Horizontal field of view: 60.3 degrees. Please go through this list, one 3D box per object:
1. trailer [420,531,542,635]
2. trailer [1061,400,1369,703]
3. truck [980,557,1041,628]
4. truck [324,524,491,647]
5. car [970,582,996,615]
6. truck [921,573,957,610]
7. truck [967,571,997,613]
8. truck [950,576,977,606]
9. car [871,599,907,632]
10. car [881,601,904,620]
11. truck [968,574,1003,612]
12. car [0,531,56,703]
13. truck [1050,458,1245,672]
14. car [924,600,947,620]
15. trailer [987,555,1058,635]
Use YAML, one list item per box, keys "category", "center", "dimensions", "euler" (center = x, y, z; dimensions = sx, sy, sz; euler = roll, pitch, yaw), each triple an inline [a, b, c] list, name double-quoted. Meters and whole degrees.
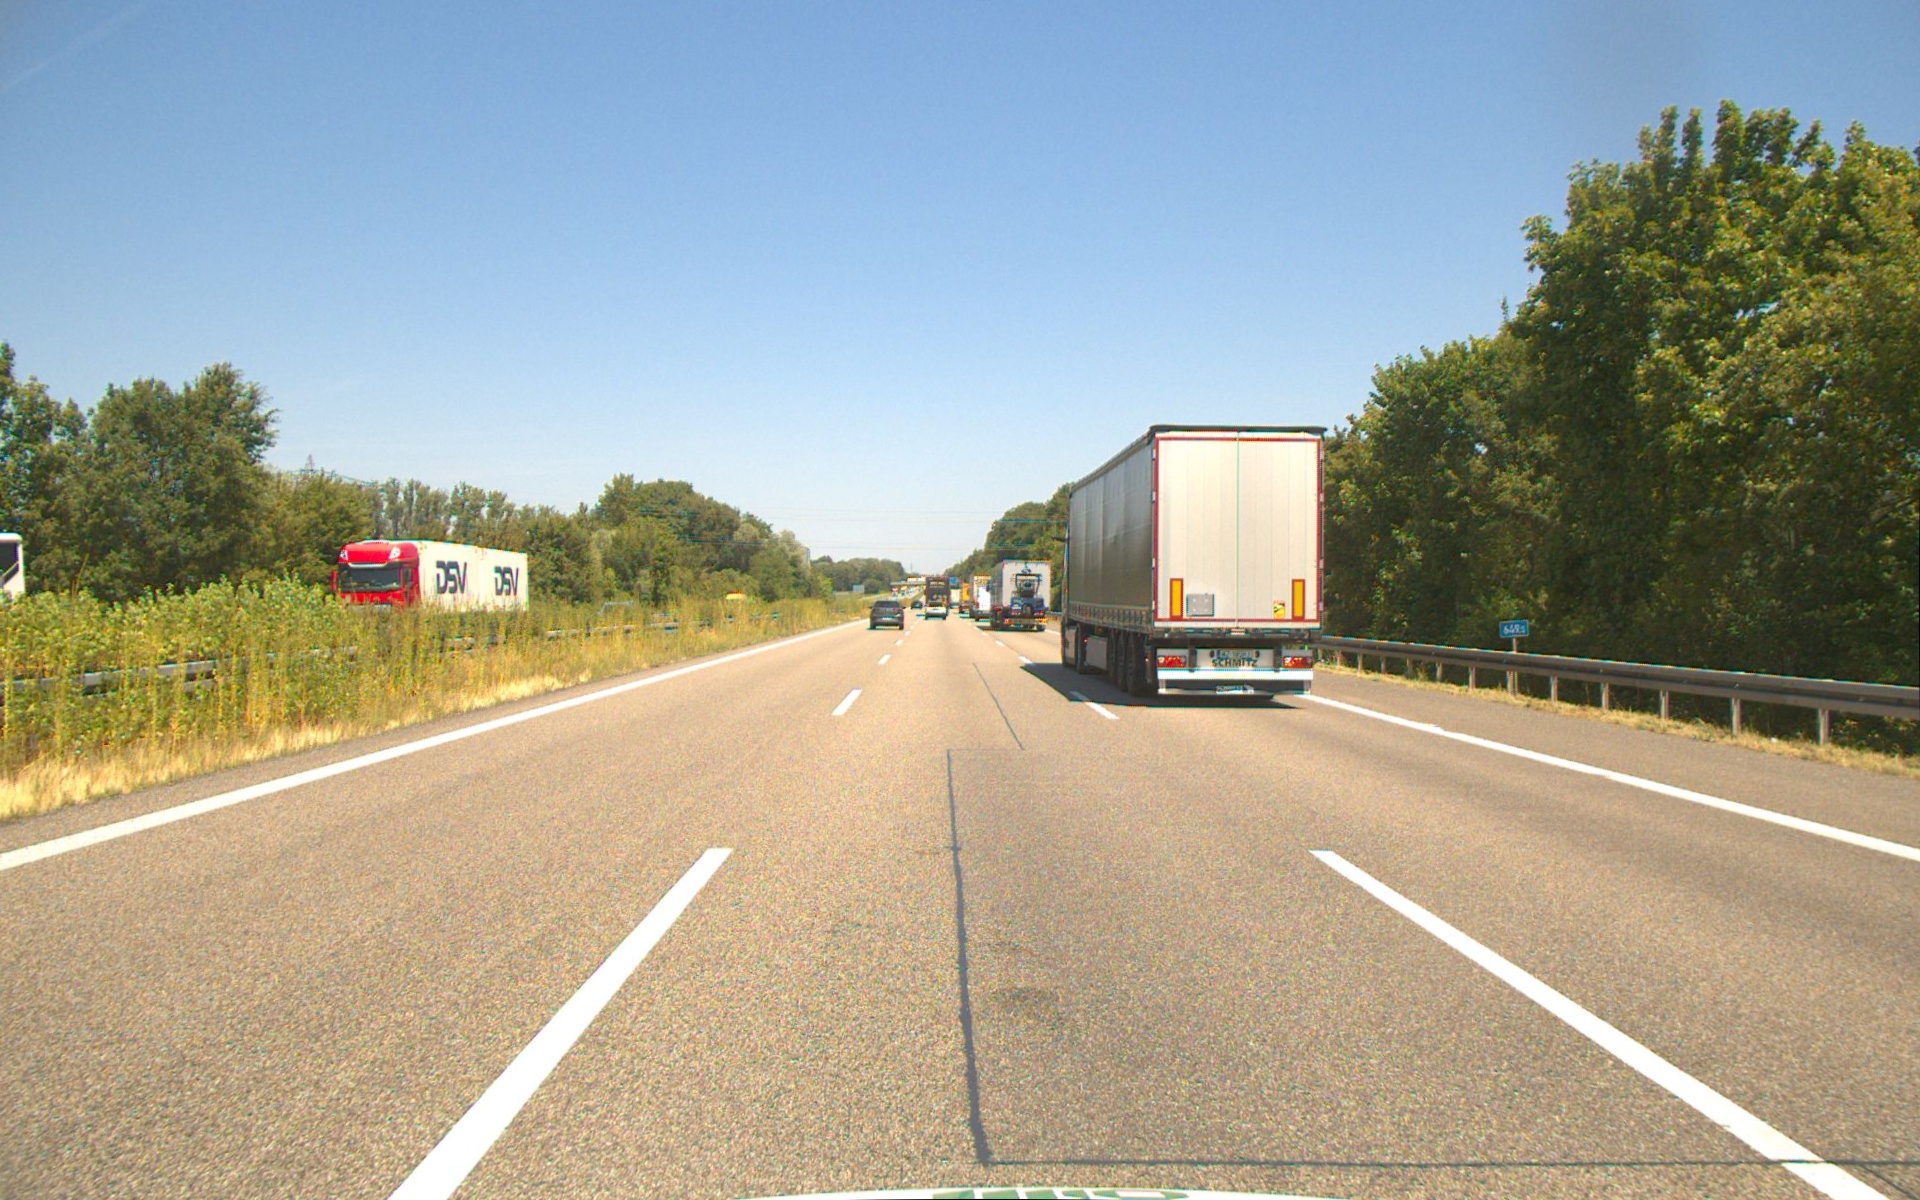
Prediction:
- category: "trailer"
  center: [-21.567, -0.806, 75.029]
  dimensions: [2.985, 4.401, 9.031]
  euler: [1, 1, -1]
- category: "trailer"
  center: [4.061, -0.704, 30.467]
  dimensions: [3.365, 4.254, 13.630]
  euler: [1, 0, -1]
- category: "truck"
  center: [2.937, -0.519, 98.965]
  dimensions: [2.996, 3.946, 10.030]
  euler: [1, 1, -2]
- category: "truck"
  center: [-21.506, -0.624, 65.190]
  dimensions: [3.008, 4.385, 10.626]
  euler: [1, 1, 0]
- category: "car"
  center: [1.782, -0.122, 131.191]
  dimensions: [1.869, 2.467, 4.285]
  euler: [1, 1, -1]
- category: "truck"
  center: [-2.198, -0.926, 175.520]
  dimensions: [3.592, 3.790, 7.109]
  euler: [1, 1, 0]
- category: "truck"
  center: [2.078, -0.781, 156.417]
  dimensions: [2.735, 3.790, 7.109]
  euler: [1, 1, 0]
- category: "truck"
  center: [0.506, -1.275, 218.313]
  dimensions: [3.417, 3.790, 7.109]
  euler: [1, 1, 0]
- category: "car"
  center: [-3.732, 0.802, 87.334]
  dimensions: [1.723, 1.557, 4.285]
  euler: [1, 1, -1]
- category: "car"
  center: [-6.064, 0.934, 148.577]
  dimensions: [1.862, 1.557, 4.083]
  euler: [1, 1, -1]
- category: "truck"
  center: [2.674, -0.788, 175.937]
  dimensions: [3.592, 3.790, 7.109]
  euler: [1, 1, 0]
- category: "car"
  center: [-17.144, 0.297, 26.167]
  dimensions: [2.282, 2.871, 6.604]
  euler: [-1, 0, -3]
- category: "truck"
  center: [3.985, -0.672, 36.848]
  dimensions: [3.394, 4.250, 6.842]
  euler: [1, -1, -1]
- category: "car"
  center: [-2.054, 0.854, 139.559]
  dimensions: [1.862, 1.557, 4.083]
  euler: [1, 1, -1]
- category: "trailer"
  center: [3.280, -0.334, 89.105]
  dimensions: [3.059, 3.995, 9.933]
  euler: [1, 1, -2]
